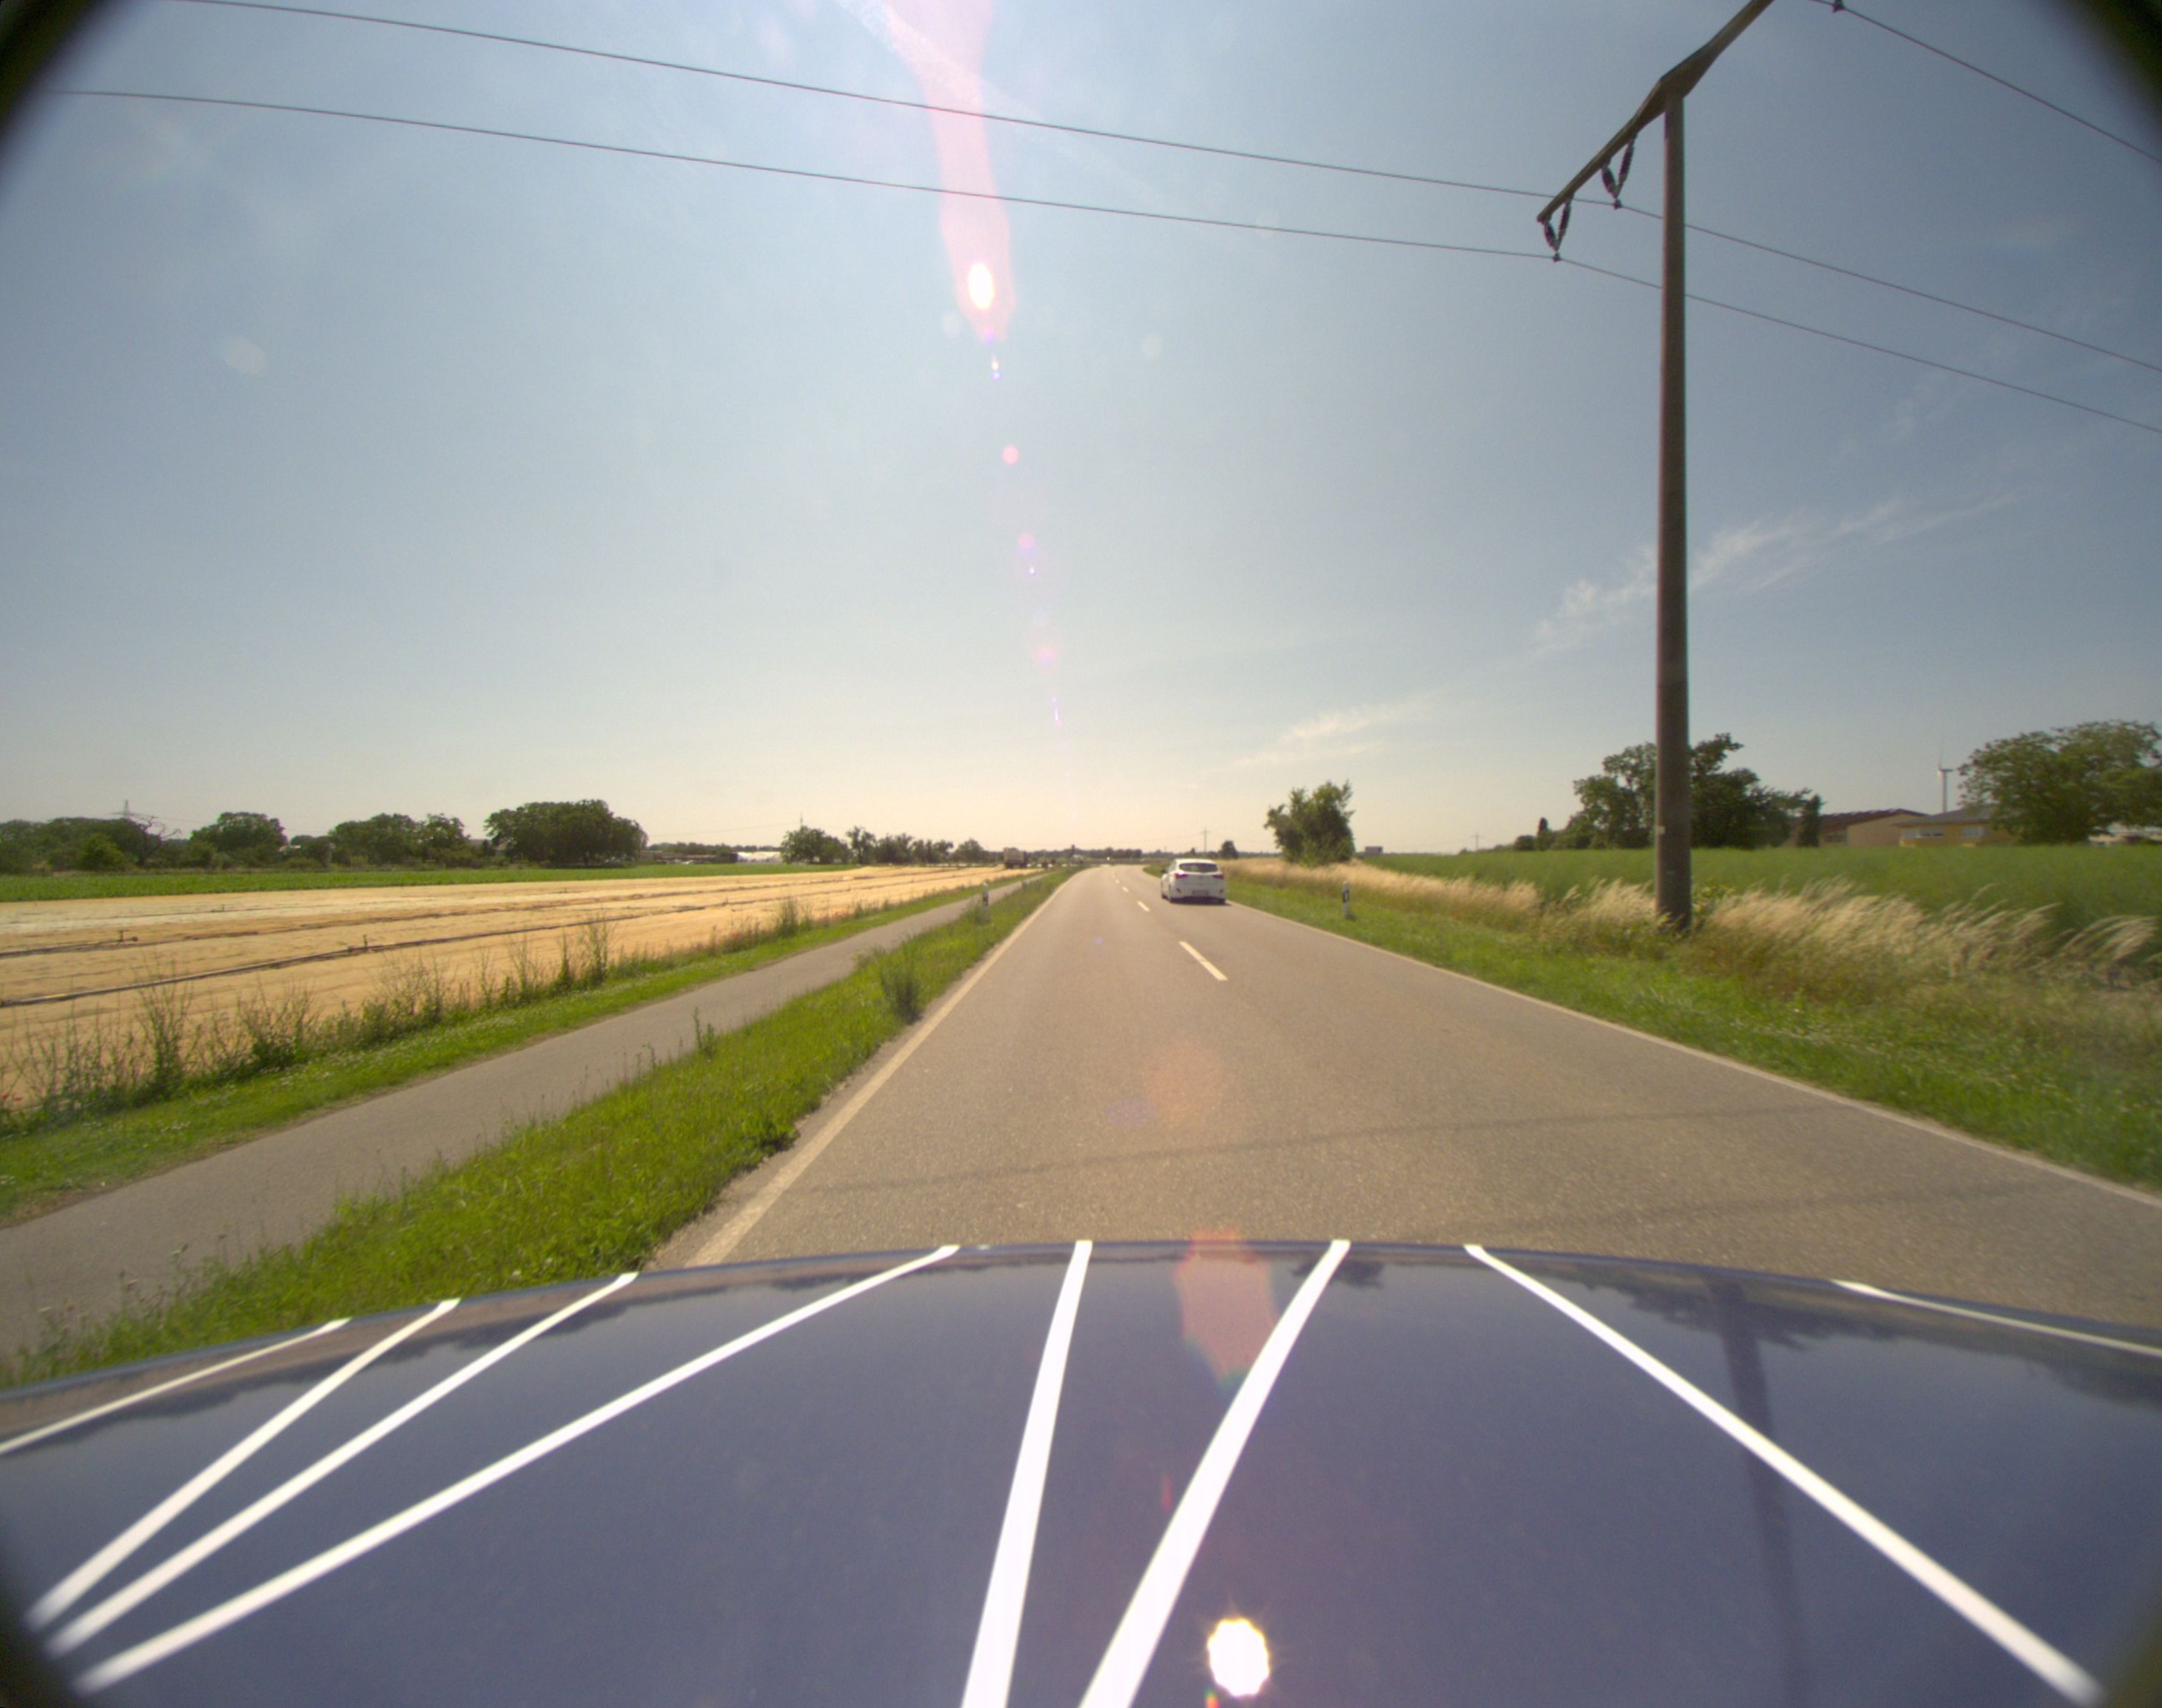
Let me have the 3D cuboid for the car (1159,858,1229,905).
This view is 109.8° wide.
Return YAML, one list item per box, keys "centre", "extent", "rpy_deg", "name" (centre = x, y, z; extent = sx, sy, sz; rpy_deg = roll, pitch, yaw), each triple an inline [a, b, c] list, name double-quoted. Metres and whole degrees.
- centre: [3.761, 0.868, 25.904]
  extent: [1.796, 1.401, 4.185]
  rpy_deg: [1, 0, 1]
  name: "car"

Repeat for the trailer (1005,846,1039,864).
- centre: [-9.827, 0.203, 126.691]
  extent: [5.283, 2.936, 2.002]
  rpy_deg: [1, 2, 21]
  name: "trailer"

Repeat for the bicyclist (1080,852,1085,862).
- centre: [0.269, 0.547, 130.175]
  extent: [0.700, 1.747, 0.663]
  rpy_deg: [-1, 1, 19]
  name: "bicyclist"

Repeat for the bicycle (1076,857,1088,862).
- centre: [0.191, 0.938, 130.211]
  extent: [1.920, 0.986, 0.683]
  rpy_deg: [-1, 1, 19]
  name: "bicycle"

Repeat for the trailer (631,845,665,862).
- centre: [-111.891, -0.089, 196.390]
  extent: [7.427, 4.197, 3.161]
  rpy_deg: [-1, 1, 13]
  name: "trailer"
